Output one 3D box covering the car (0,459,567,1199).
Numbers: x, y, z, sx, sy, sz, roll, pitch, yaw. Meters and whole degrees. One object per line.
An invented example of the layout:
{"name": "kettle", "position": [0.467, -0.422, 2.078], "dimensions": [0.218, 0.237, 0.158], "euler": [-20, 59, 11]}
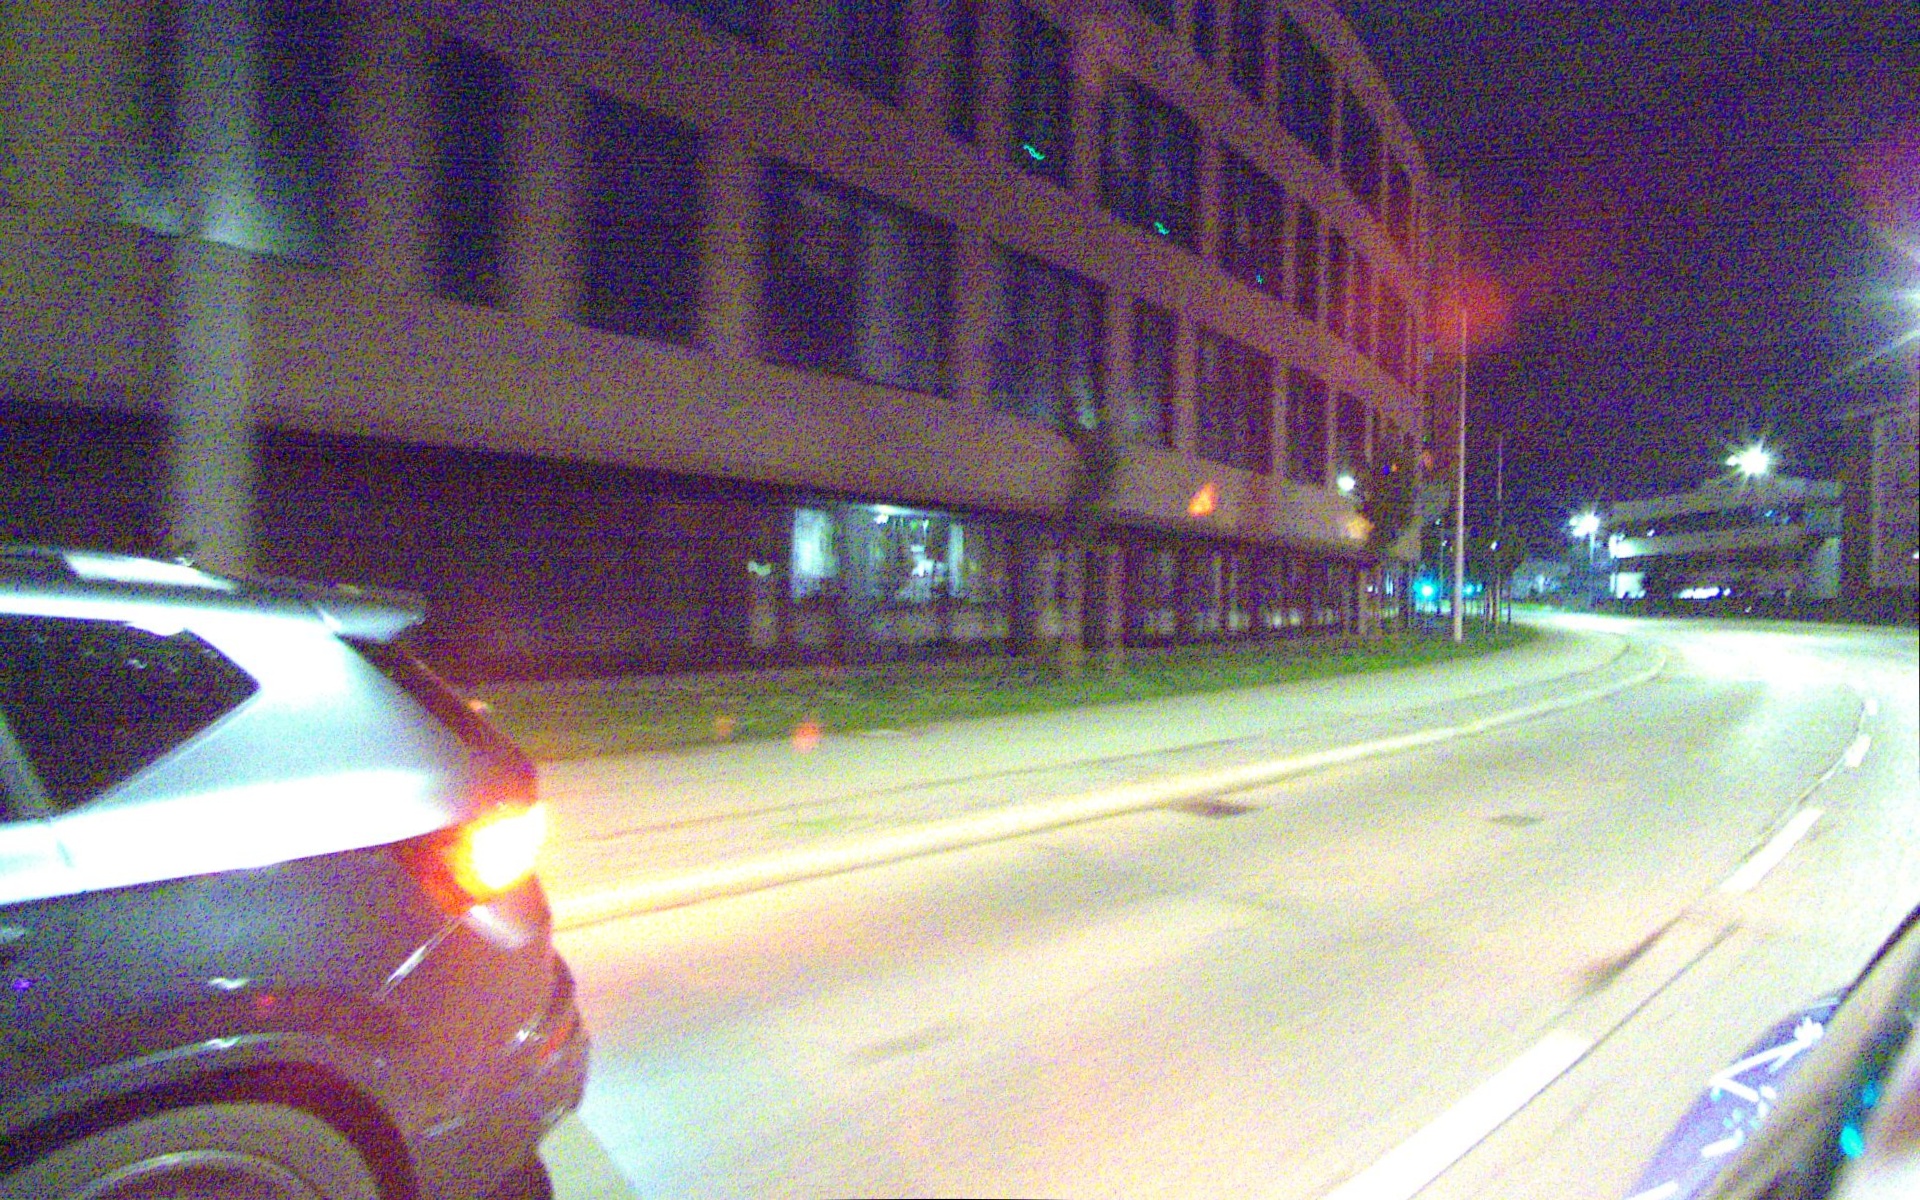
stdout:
{"name": "car", "position": [-2.880, 0.631, 1.267], "dimensions": [4.154, 1.631, 1.673], "euler": [-1, 0, -40]}
